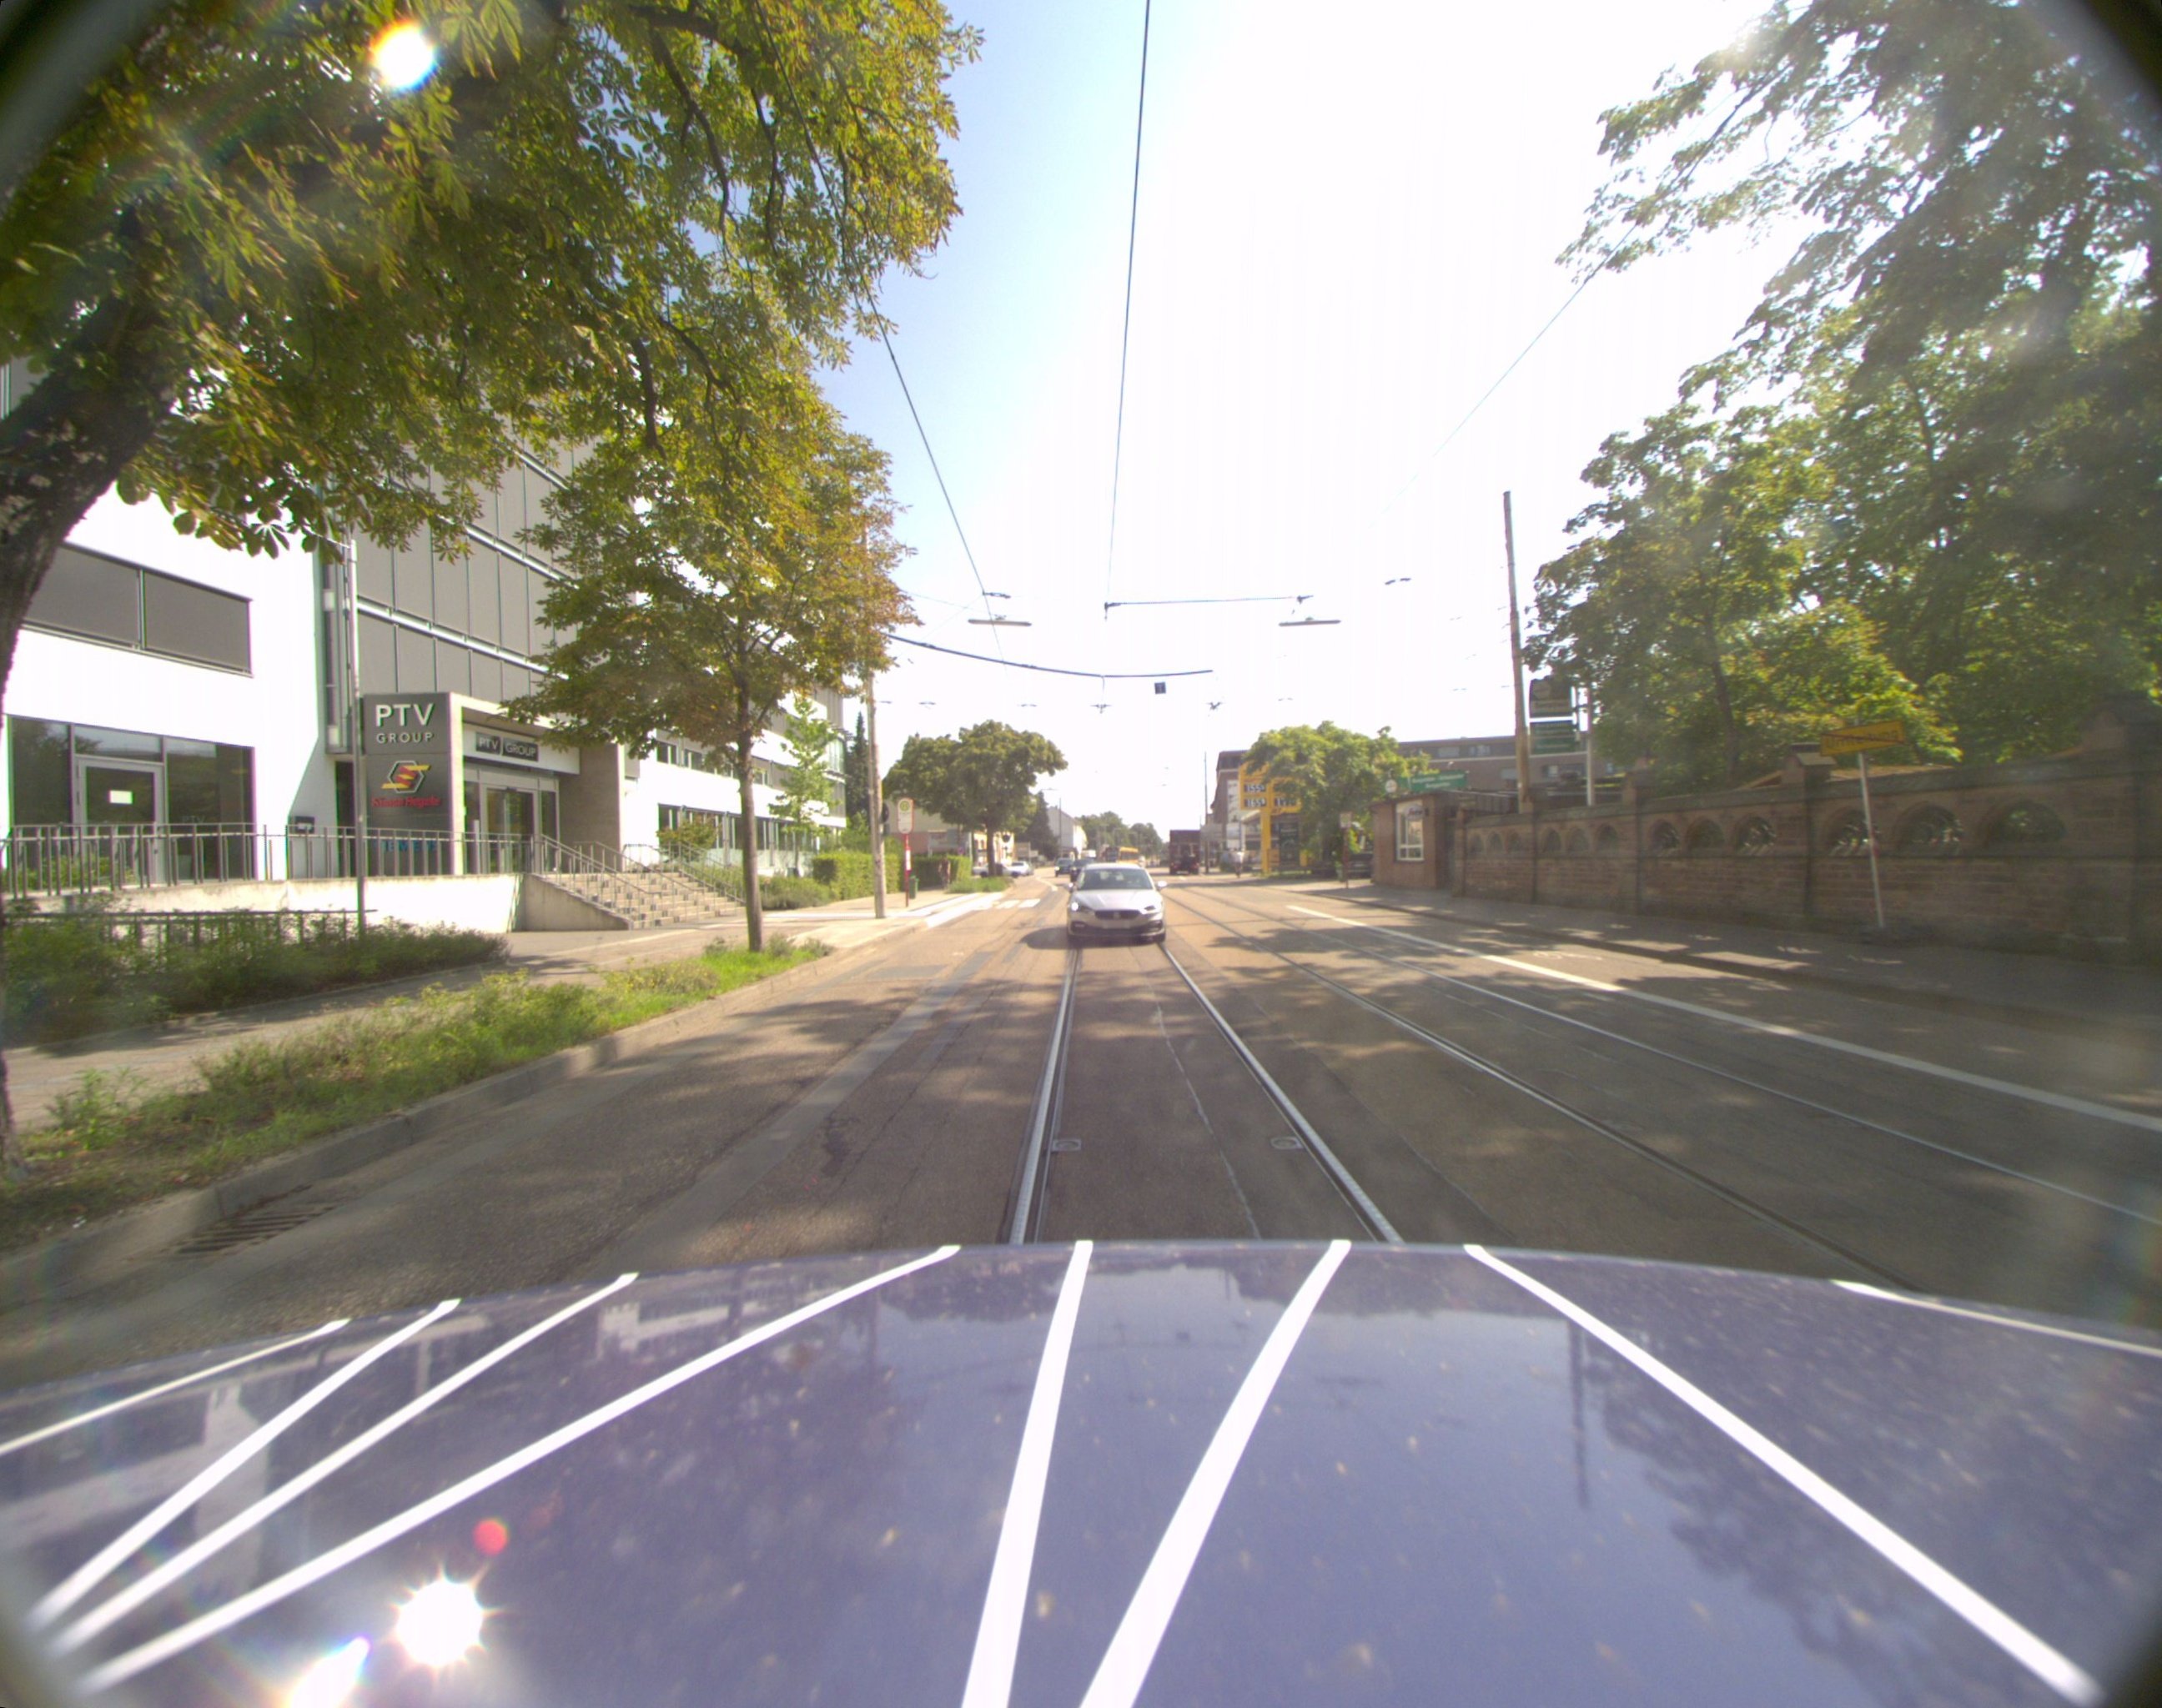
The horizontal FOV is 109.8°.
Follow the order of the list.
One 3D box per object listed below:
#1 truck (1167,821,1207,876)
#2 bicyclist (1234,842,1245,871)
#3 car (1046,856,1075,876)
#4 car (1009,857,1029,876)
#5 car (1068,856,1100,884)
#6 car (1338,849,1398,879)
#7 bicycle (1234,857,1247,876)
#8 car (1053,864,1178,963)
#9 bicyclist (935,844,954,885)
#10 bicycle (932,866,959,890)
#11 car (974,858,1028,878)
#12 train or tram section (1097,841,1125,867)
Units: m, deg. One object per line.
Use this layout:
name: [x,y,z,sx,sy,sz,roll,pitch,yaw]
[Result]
truck: [9.740,-0.517,70.899,3.171,4.427,16.848,-2,0,7]
bicyclist: [10.455,0.161,50.031,0.642,1.918,1.176,-2,1,13]
car: [-1.805,1.035,68.548,2.260,1.660,5.653,-2,0,1]
car: [-6.551,1.286,80.547,1.960,1.910,4.552,-2,0,-4]
car: [0.192,0.909,46.048,1.834,1.543,4.033,-2,0,1]
car: [15.620,0.499,41.209,1.932,1.452,4.536,-1,0,35]
bicycle: [10.473,0.803,49.966,0.787,1.233,2.036,-1,0,12]
car: [0.568,0.964,14.354,1.928,1.465,4.817,-2,0,1]
bicyclist: [-6.892,0.514,38.501,0.783,2.002,1.274,-2,1,-6]
bicycle: [-6.885,1.193,38.605,1.139,1.118,2.535,-2,0,-6]
car: [-6.981,1.219,66.526,4.552,1.506,1.960,-2,0,-4]
train or tram section: [5.057,-0.045,125.908,4.111,3.711,24.381,-2,0,2]
